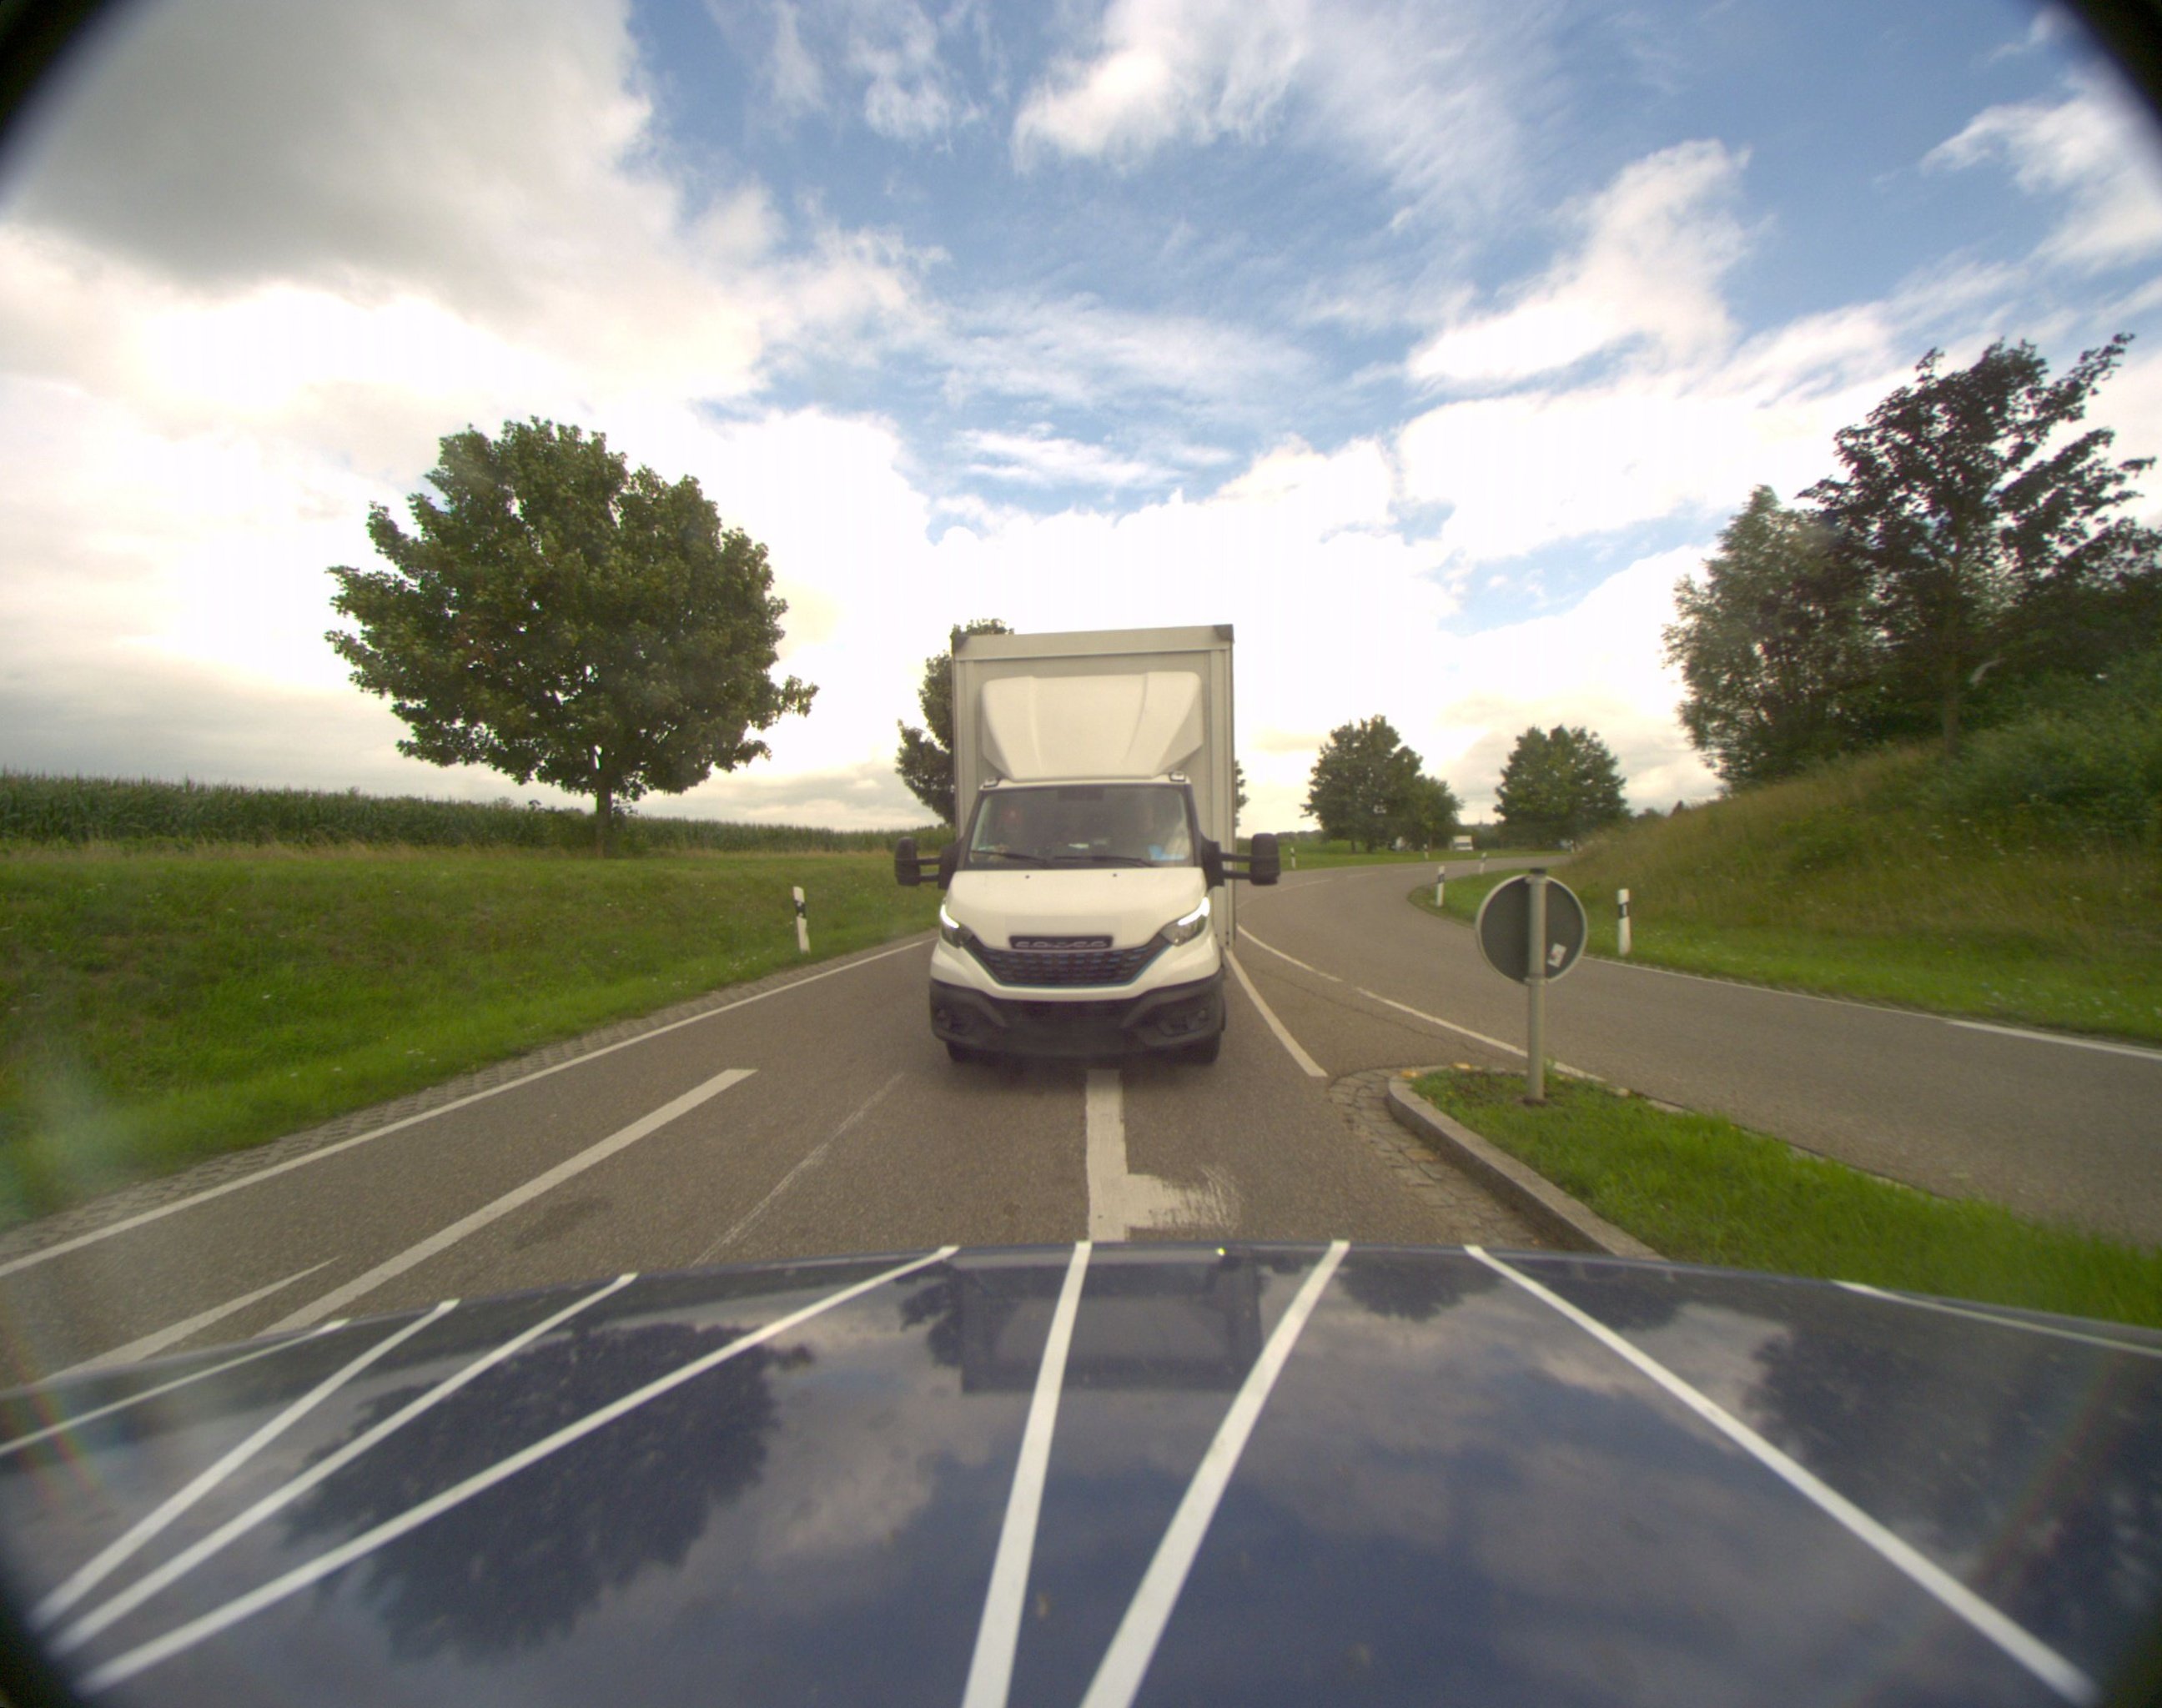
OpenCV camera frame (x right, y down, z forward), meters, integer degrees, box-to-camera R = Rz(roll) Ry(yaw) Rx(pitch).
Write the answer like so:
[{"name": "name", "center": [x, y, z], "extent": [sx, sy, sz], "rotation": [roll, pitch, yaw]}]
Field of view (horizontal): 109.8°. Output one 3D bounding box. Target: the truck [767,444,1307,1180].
[{"name": "truck", "center": [0.202, -0.259, 8.385], "extent": [2.836, 3.742, 8.802], "rotation": [0, 1, 6]}]

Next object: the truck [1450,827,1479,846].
[{"name": "truck", "center": [51.338, -2.250, 101.774], "extent": [2.288, 2.407, 6.389], "rotation": [-1, 0, 16]}]
